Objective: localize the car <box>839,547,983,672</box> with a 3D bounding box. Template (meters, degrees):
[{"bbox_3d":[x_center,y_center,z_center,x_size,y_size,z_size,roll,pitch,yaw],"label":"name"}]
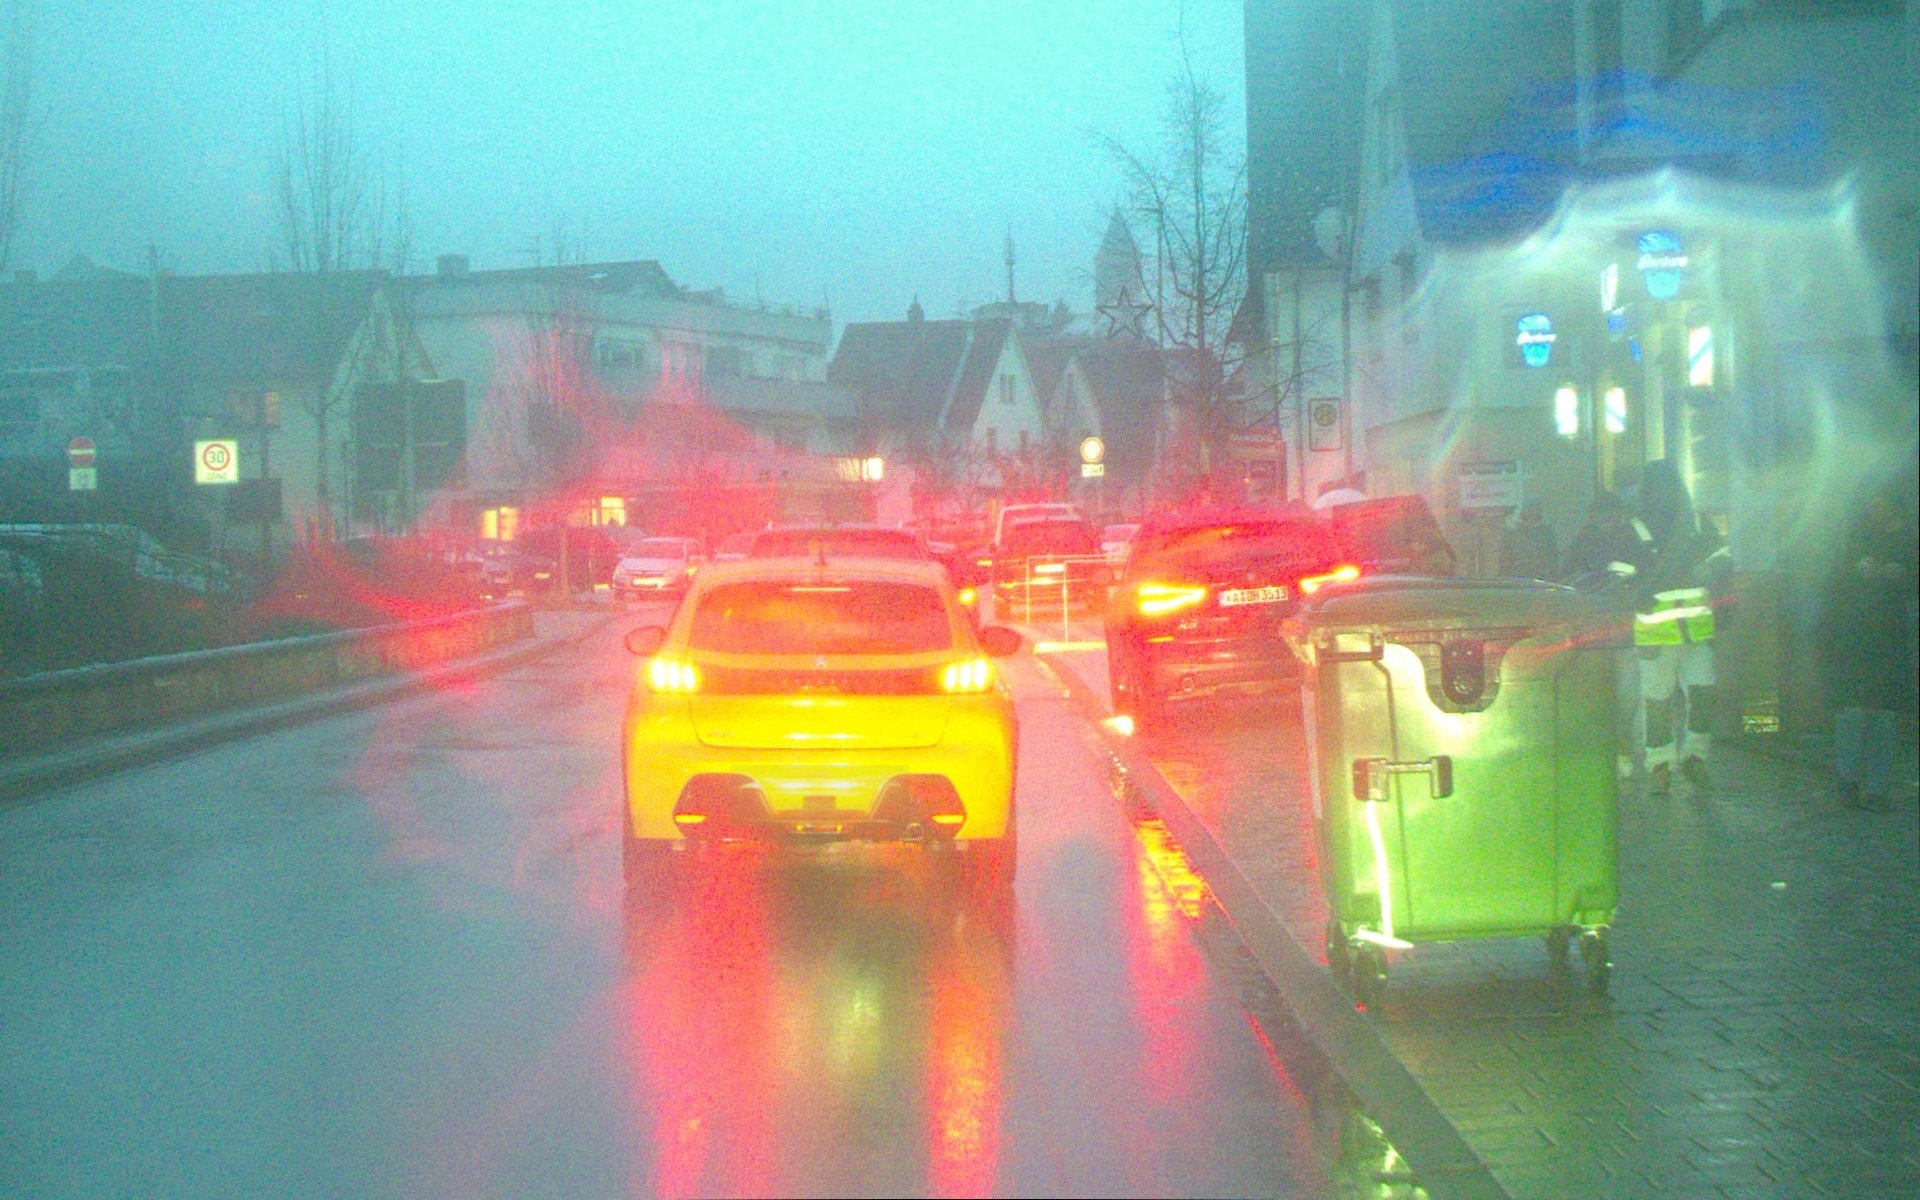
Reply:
[{"bbox_3d":[-0.560,0.080,38.890,1.541,1.327,3.311,1,1,-1],"label":"car"}]

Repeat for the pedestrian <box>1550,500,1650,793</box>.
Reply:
[{"bbox_3d":[3.680,0.249,19.730,0.480,1.625,1.018,-2,1,13],"label":"pedestrian"}]

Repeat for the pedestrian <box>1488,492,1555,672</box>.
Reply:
[{"bbox_3d":[5.425,-0.172,33.205,0.618,1.721,0.501,0,-2,11],"label":"pedestrian"}]

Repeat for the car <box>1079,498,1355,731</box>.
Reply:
[{"bbox_3d":[1.974,0.078,27.573,1.735,1.686,4.386,-1,1,-2],"label":"car"}]

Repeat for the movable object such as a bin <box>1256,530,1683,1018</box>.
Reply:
[{"bbox_3d":[1.625,0.523,11.260,1.129,1.415,1.417,-4,2,1],"label":"movable object such as a bin"}]

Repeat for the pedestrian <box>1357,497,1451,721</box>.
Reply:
[{"bbox_3d":[3.450,0.065,26.746,0.573,1.694,0.653,-3,0,1],"label":"pedestrian"}]

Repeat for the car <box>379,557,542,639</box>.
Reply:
[{"bbox_3d":[-12.531,-0.035,86.165,4.166,1.969,1.818,-1,-2,43],"label":"car"}]

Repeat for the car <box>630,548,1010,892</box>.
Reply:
[{"bbox_3d":[-0.605,0.478,15.794,1.563,1.408,3.018,1,1,-1],"label":"car"}]

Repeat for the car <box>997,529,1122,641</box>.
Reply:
[{"bbox_3d":[1.684,-0.264,59.502,1.997,1.858,4.083,0,0,0],"label":"car"}]

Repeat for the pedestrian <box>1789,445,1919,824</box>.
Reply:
[{"bbox_3d":[4.355,0.154,16.753,0.529,1.794,0.864,0,1,9],"label":"pedestrian"}]

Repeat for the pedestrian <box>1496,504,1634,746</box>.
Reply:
[{"bbox_3d":[4.158,0.154,23.658,0.618,1.621,0.907,-1,2,-14],"label":"pedestrian"}]

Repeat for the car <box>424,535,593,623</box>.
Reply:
[{"bbox_3d":[-11.710,-0.512,89.014,4.383,2.159,1.995,-1,-2,43],"label":"car"}]

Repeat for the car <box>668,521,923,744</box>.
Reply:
[{"bbox_3d":[-1.238,0.204,27.155,1.766,1.623,3.586,1,1,1],"label":"car"}]

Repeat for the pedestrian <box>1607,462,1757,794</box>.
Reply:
[{"bbox_3d":[3.863,0.131,18.366,0.712,1.709,1.034,-2,1,13],"label":"pedestrian"}]

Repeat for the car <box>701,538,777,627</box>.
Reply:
[{"bbox_3d":[-5.774,-0.426,90.206,1.919,2.208,3.975,1,-1,-3],"label":"car"}]

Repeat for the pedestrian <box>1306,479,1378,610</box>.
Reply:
[{"bbox_3d":[4.458,-0.652,40.137,0.618,1.510,0.734,-1,2,-14],"label":"pedestrian"}]

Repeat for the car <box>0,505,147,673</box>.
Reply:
[{"bbox_3d":[-10.807,-0.113,35.033,4.625,1.662,2.000,0,0,-3],"label":"car"}]

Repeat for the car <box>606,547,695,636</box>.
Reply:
[{"bbox_3d":[-7.378,-0.172,82.284,1.919,2.021,3.975,1,-1,-3],"label":"car"}]
